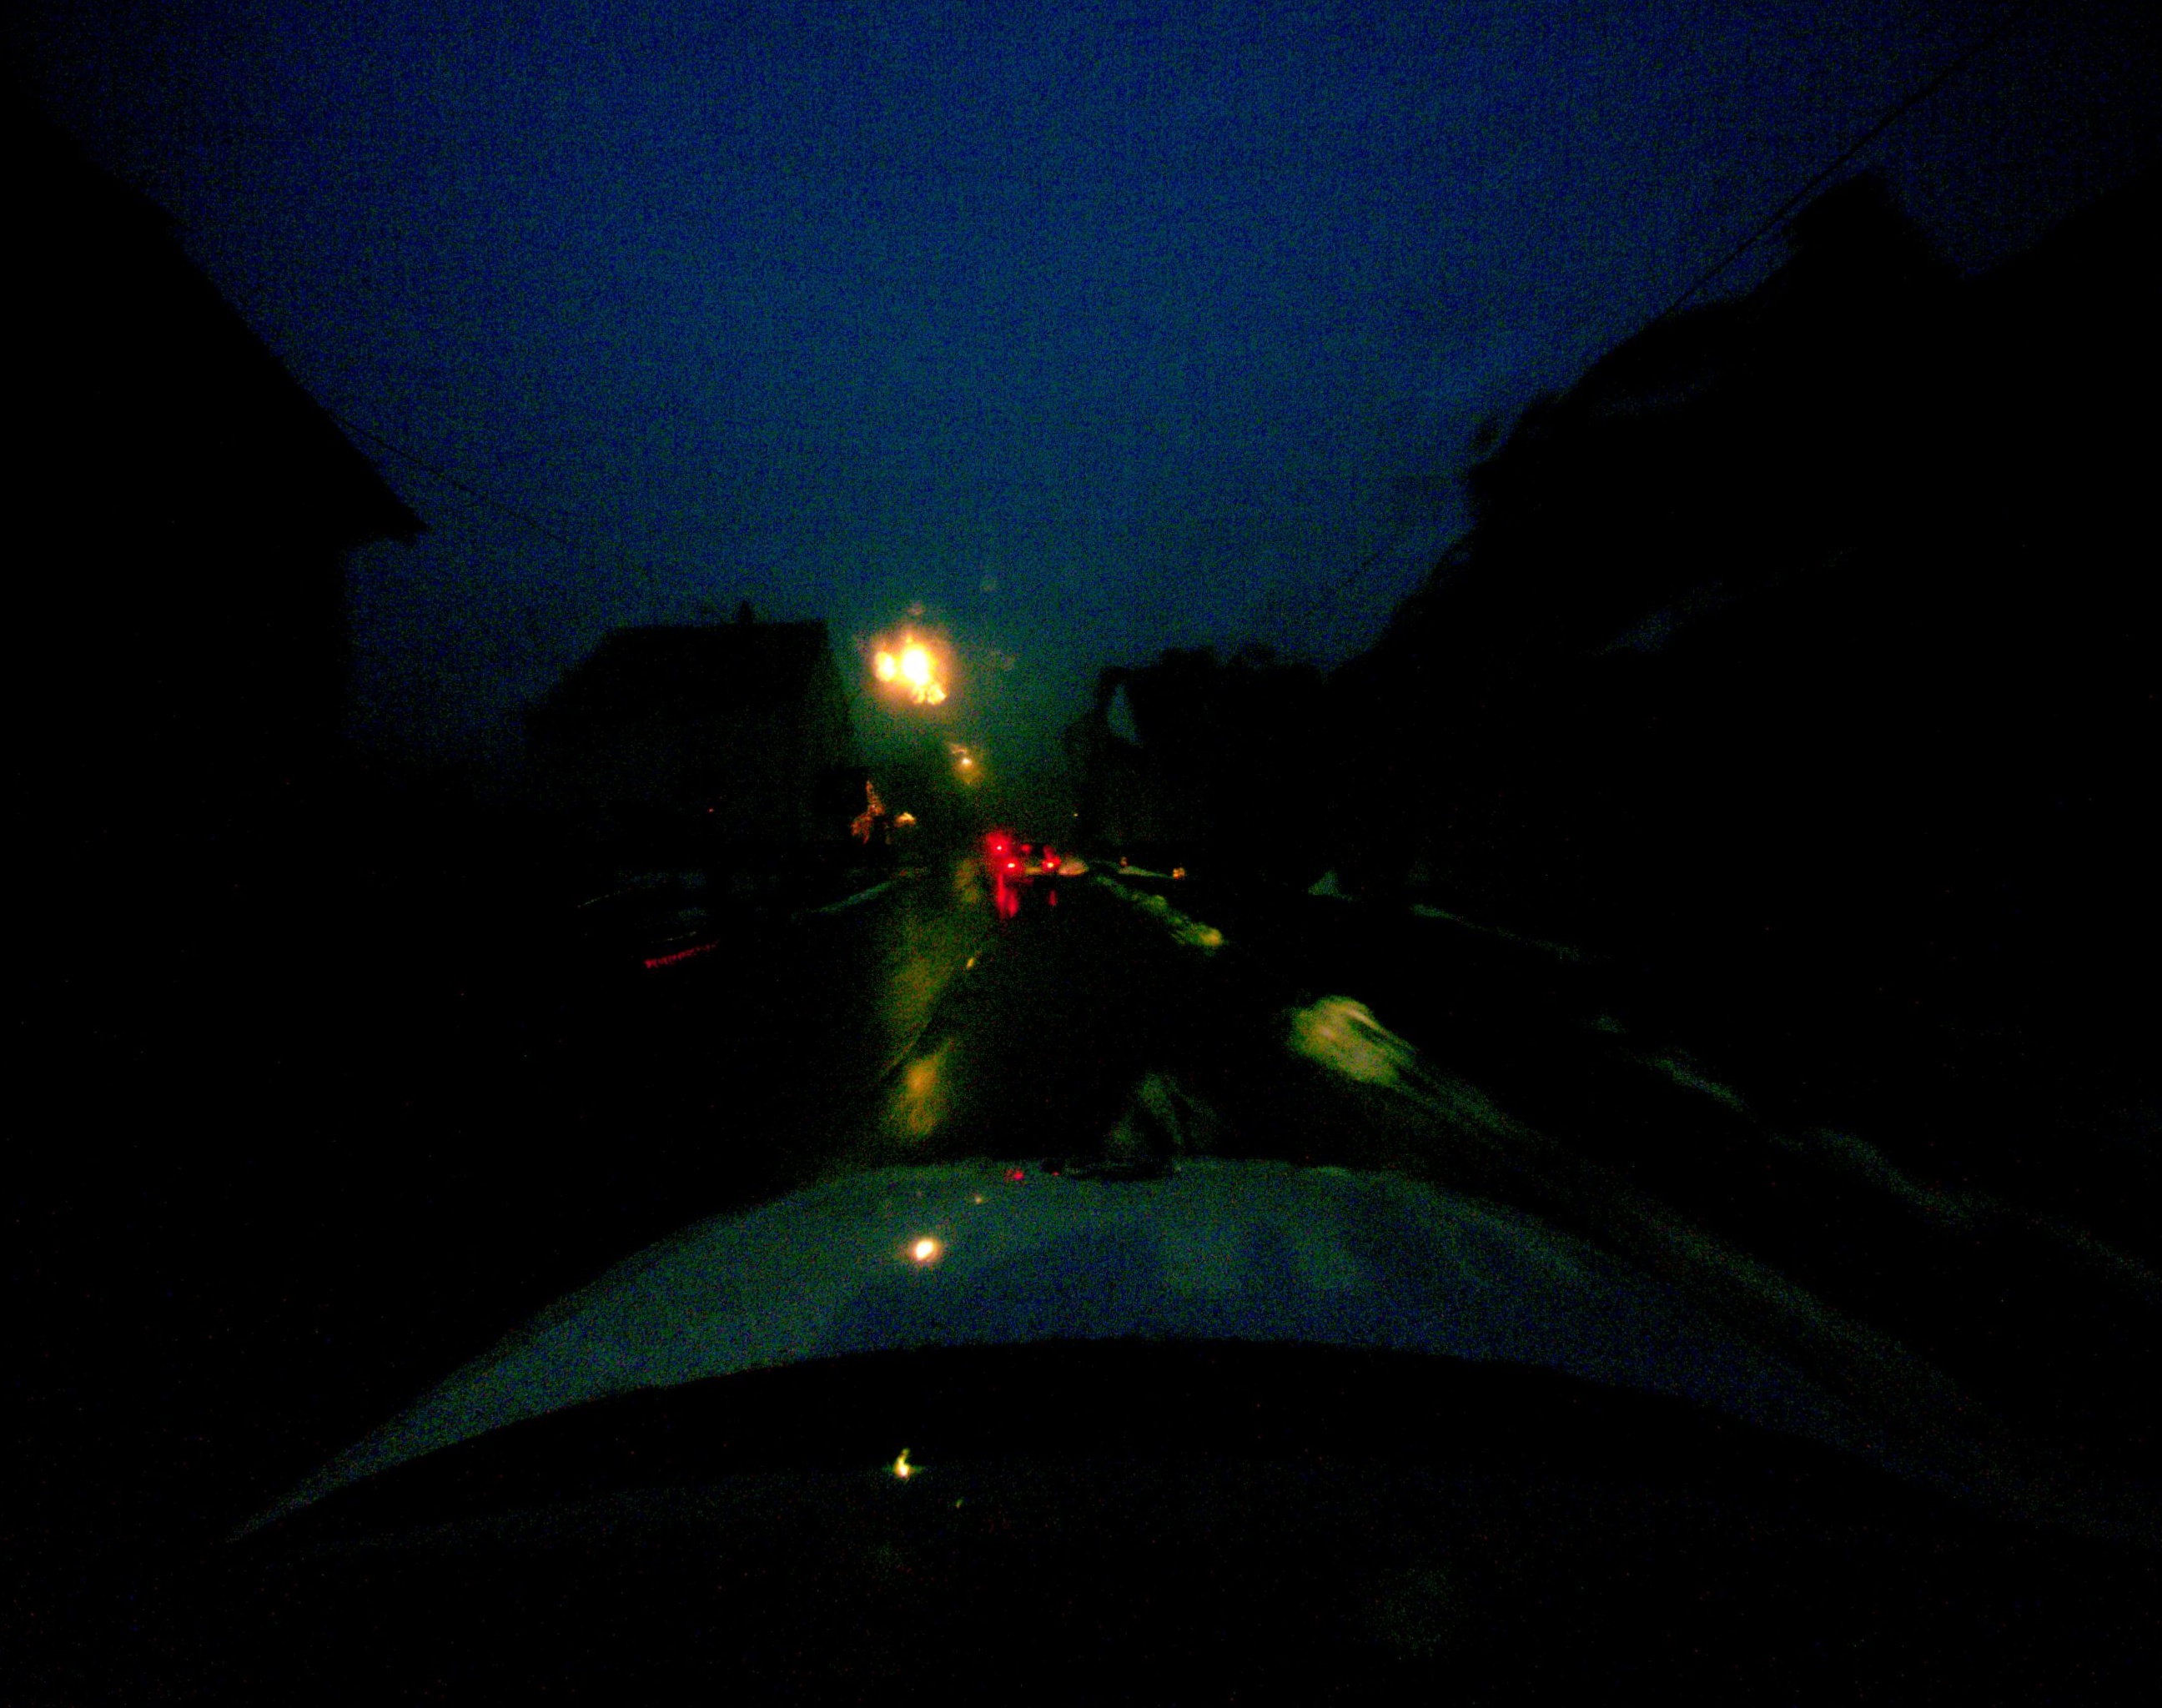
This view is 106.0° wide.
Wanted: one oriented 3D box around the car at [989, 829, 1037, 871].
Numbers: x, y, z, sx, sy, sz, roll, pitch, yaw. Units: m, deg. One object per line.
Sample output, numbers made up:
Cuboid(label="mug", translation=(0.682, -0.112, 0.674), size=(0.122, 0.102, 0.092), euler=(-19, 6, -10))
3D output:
Cuboid(label="car", translation=(-3.410, -0.164, 41.649), size=(1.987, 2.014, 4.000), euler=(1, -2, 1))

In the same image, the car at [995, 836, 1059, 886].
Cuboid(label="car", translation=(-1.835, 0.271, 27.727), size=(1.990, 1.508, 3.994), euler=(1, -1, -4))

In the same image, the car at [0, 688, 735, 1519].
Cuboid(label="car", translation=(-3.102, 0.557, 2.817), size=(1.834, 1.687, 4.477), euler=(-1, -2, 1))
